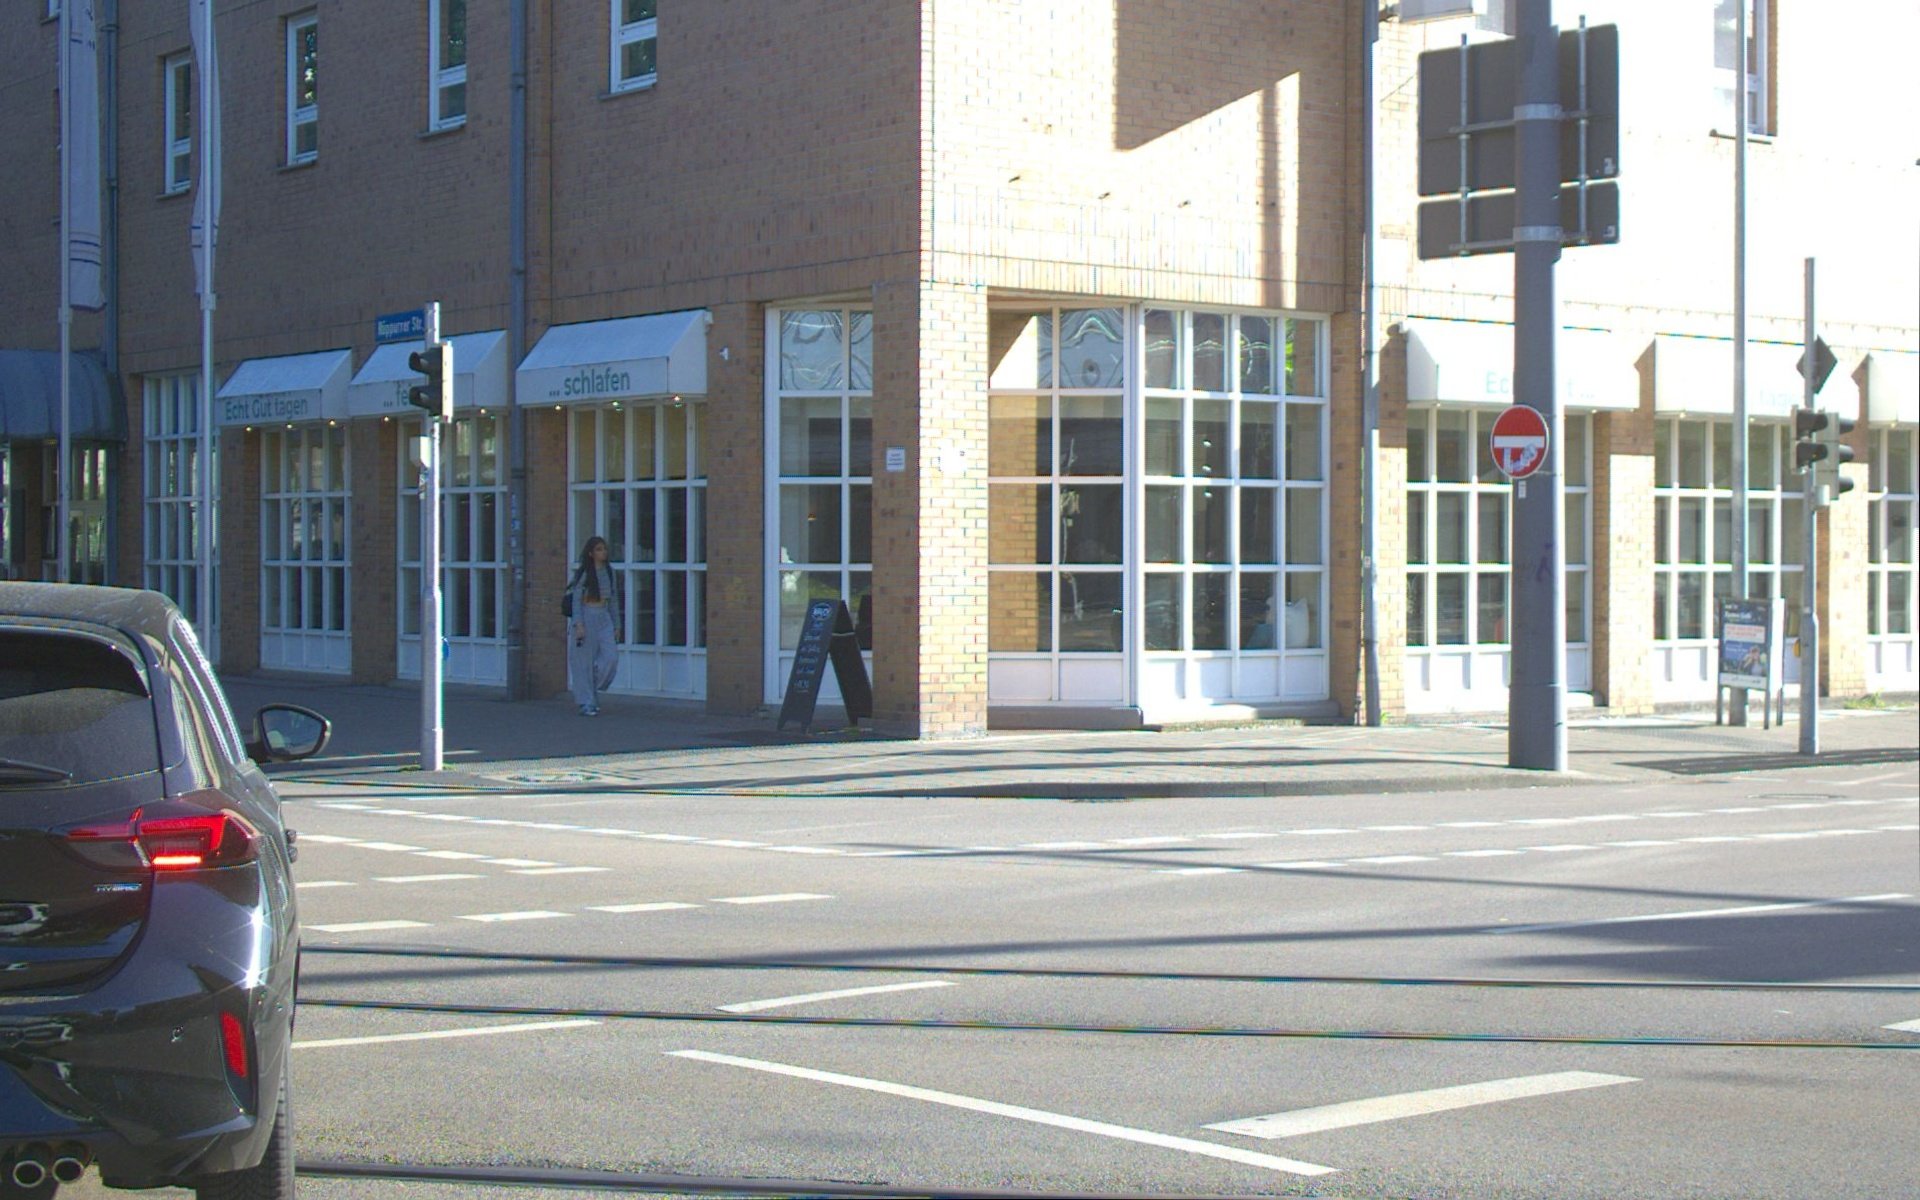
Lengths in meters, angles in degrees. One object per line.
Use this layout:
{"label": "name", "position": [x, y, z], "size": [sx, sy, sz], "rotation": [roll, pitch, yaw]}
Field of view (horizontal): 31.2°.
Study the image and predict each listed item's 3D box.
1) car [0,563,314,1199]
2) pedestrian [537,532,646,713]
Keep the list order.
{"label": "car", "position": [-2.497, 0.671, 8.318], "size": [1.671, 1.496, 3.692], "rotation": [0, 1, -13]}
{"label": "pedestrian", "position": [-3.451, 0.203, 32.175], "size": [0.739, 1.660, 0.753], "rotation": [-1, 1, -32]}
